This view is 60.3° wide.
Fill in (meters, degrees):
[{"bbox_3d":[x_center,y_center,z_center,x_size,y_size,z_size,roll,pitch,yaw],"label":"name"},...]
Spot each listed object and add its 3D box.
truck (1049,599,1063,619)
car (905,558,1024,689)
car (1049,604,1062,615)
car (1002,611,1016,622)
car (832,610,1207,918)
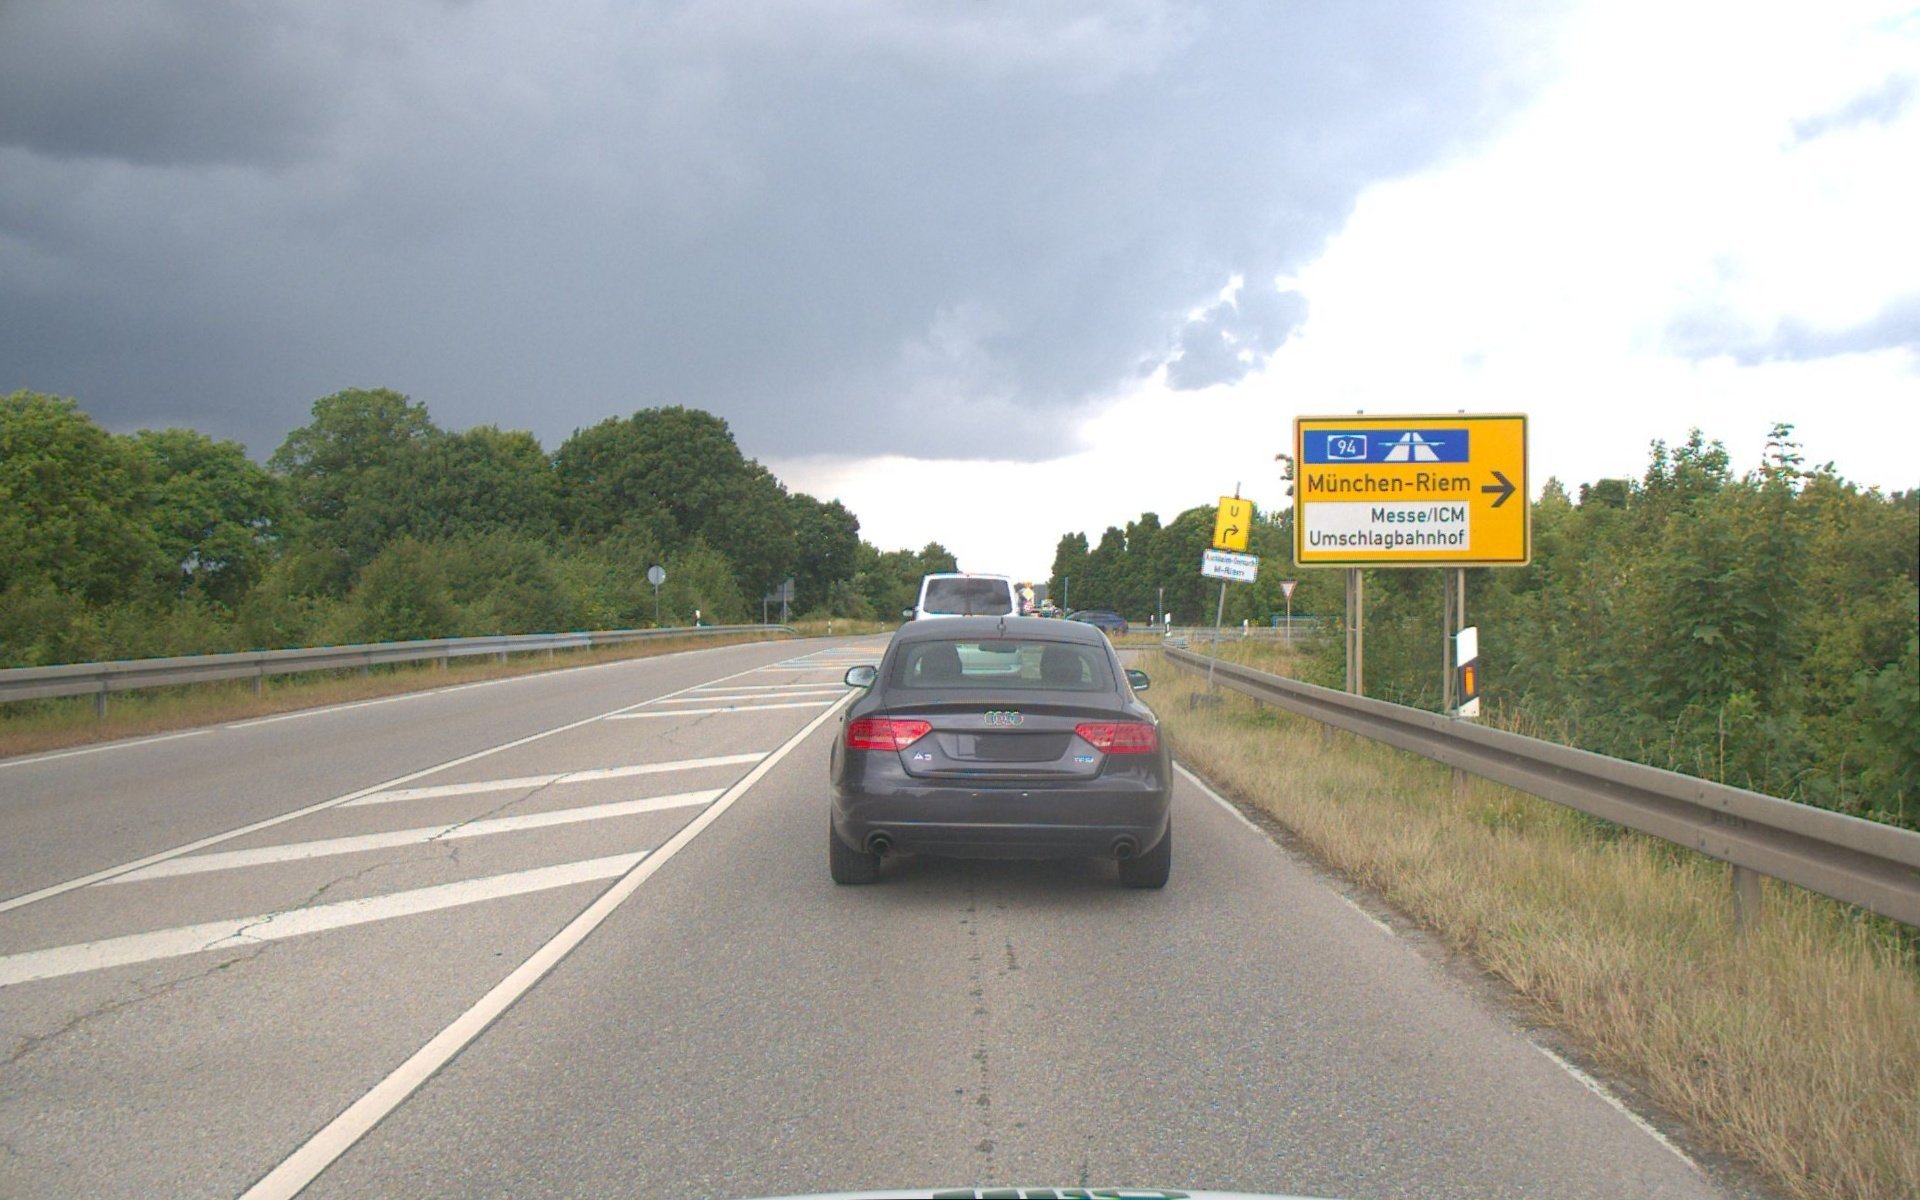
[{"bbox_3d":[14.066,1.293,242.999,1.952,2.969,5.795,1,0,3],"label":"truck"},{"bbox_3d":[0.054,0.373,28.296,1.871,2.049,3.999,1,0,-1],"label":"car"},{"bbox_3d":[15.082,1.549,261.416,1.952,1.722,4.001,1,0,2],"label":"car"},{"bbox_3d":[6.666,2.201,223.489,1.699,1.479,3.999,1,0,-1],"label":"car"},{"bbox_3d":[0.255,0.774,9.383,1.743,1.423,3.336,0,0,-1],"label":"car"}]
